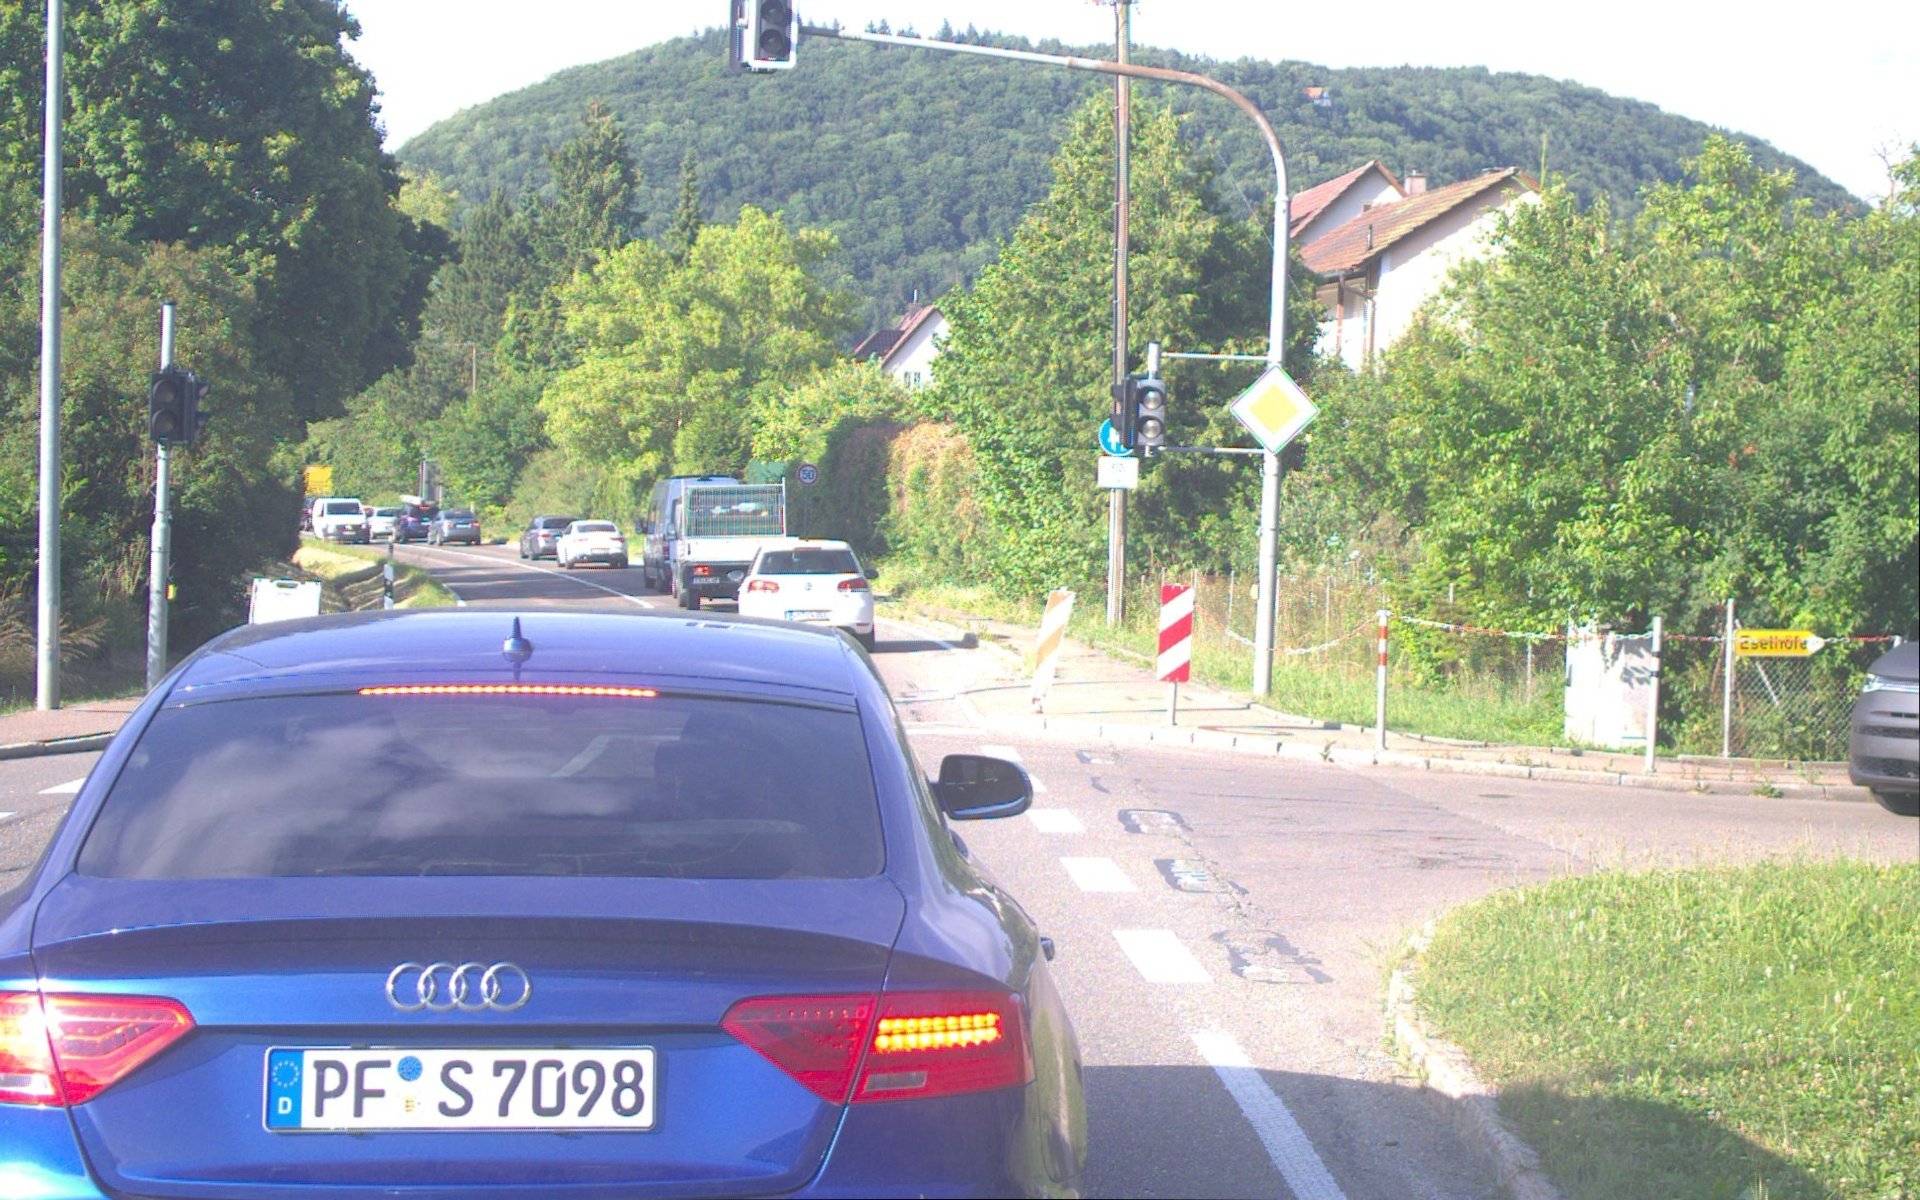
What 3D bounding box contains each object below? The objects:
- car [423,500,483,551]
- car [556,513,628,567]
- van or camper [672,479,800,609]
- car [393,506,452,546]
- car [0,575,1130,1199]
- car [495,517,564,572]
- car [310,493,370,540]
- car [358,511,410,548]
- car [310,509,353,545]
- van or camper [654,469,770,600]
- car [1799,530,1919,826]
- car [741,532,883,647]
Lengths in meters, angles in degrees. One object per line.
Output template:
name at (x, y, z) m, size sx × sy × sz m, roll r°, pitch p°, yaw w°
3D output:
car at (-20.548, -3.034, 139.168) m, size 1.993 × 2.007 × 4.001 m, roll 0°, pitch 2°, yaw -15°
car at (-10.974, -1.792, 102.385) m, size 1.819 × 1.546 × 4.001 m, roll 0°, pitch 2°, yaw -10°
van or camper at (-4.335, -1.101, 65.696) m, size 2.179 × 2.377 × 5.371 m, roll 0°, pitch 2°, yaw -6°
car at (-23.149, -3.192, 147.965) m, size 2.040 × 1.678 × 4.001 m, roll -1°, pitch 1°, yaw -16°
car at (-0.779, 0.695, 6.476) m, size 1.829 × 1.404 × 4.227 m, roll -1°, pitch 1°, yaw -2°
car at (-14.245, -1.859, 113.680) m, size 1.796 × 1.787 × 4.001 m, roll -1°, pitch 1°, yaw -14°
car at (-26.045, -3.507, 144.335) m, size 1.993 × 1.897 × 5.255 m, roll -1°, pitch 2°, yaw -16°
car at (-26.215, -3.207, 156.365) m, size 1.941 × 1.678 × 4.001 m, roll -1°, pitch 1°, yaw -16°
car at (-31.847, -3.691, 174.224) m, size 1.771 × 1.776 × 4.001 m, roll -1°, pitch 1°, yaw -16°
van or camper at (-5.804, -1.541, 79.695) m, size 2.414 × 2.894 × 6.133 m, roll 0°, pitch 2°, yaw -6°
car at (8.124, 0.547, 23.599) m, size 4.856 × 1.870 × 2.000 m, roll 1°, pitch 2°, yaw -39°
car at (-1.970, -0.177, 46.079) m, size 1.771 × 1.410 × 4.174 m, roll 2°, pitch 1°, yaw -2°
